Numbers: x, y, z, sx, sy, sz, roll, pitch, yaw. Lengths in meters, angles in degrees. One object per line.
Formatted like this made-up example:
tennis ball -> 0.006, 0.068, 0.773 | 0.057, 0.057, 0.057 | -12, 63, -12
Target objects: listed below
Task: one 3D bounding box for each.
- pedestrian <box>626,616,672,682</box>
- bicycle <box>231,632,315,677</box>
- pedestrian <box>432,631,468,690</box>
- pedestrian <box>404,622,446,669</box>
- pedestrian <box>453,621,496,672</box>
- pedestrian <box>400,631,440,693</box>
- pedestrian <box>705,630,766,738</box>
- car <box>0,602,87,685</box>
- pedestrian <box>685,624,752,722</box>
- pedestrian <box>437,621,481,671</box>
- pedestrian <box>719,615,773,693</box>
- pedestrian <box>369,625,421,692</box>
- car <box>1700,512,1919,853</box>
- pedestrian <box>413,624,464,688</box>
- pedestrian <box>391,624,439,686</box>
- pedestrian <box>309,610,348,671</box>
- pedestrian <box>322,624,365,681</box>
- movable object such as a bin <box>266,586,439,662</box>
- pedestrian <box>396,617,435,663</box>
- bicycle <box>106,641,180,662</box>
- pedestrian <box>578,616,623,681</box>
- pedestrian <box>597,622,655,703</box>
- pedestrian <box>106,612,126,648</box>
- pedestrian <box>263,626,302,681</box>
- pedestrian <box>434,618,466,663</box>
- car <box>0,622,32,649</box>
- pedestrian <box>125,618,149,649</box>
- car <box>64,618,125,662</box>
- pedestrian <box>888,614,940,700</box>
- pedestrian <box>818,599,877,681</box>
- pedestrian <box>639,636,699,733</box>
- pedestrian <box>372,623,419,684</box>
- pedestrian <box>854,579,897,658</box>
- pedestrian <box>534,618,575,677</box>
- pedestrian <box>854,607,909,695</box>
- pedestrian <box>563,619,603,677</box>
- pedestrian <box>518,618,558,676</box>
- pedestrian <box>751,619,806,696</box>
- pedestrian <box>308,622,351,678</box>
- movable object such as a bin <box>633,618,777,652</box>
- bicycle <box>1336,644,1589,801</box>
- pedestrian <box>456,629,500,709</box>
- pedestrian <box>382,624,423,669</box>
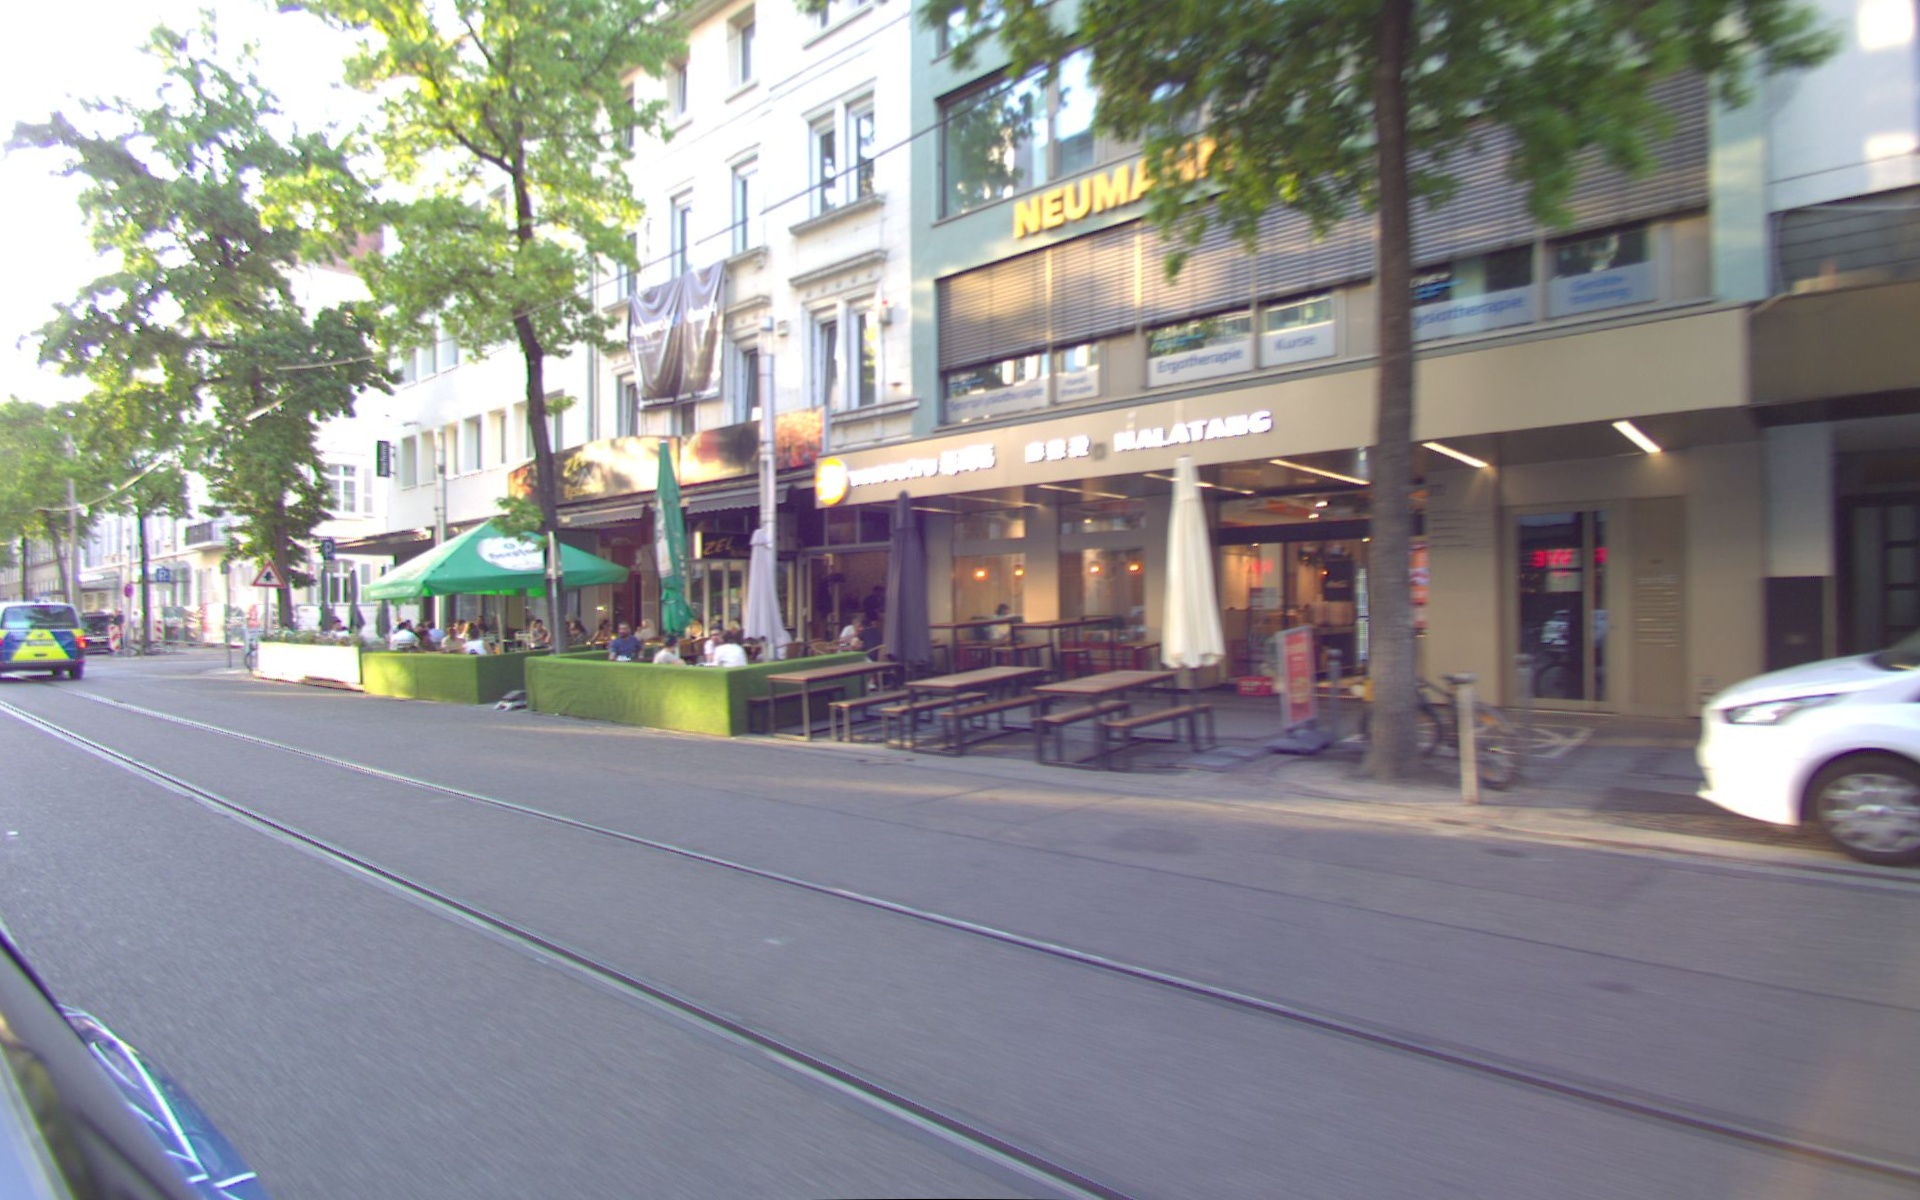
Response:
pedestrian -> -6.872, 1.067, 22.365 | 0.765, 1.388, 0.647 | 0, 0, 42
bicycle -> -19.315, 1.503, 28.490 | 0.626, 1.147, 1.843 | -1, 0, 38
pedestrian -> -10.879, 1.282, 21.608 | 0.511, 1.228, 0.537 | -1, 0, 43
pedestrian -> -15.711, 1.318, 29.715 | 0.882, 1.330, 0.875 | 0, 0, 44
pedestrian -> -13.391, 1.273, 27.918 | 0.838, 1.330, 0.882 | -1, 0, -45
pedestrian -> -11.292, 1.290, 21.162 | 0.544, 1.245, 0.579 | -1, 0, 43
pedestrian -> -3.036, 1.121, 13.695 | 0.564, 1.388, 0.573 | -1, 0, 42
car -> -24.414, 1.090, 26.301 | 4.847, 1.991, 1.973 | -1, -1, 41
pedestrian -> -3.518, 1.038, 14.753 | 0.731, 1.356, 0.637 | 0, 0, 43
pedestrian -> -14.174, 1.284, 28.610 | 0.882, 1.330, 0.875 | 0, 0, 44
pedestrian -> -4.017, 0.993, 18.972 | 0.765, 1.388, 0.647 | 0, 0, 42
pedestrian -> -12.234, 1.243, 21.924 | 1.012, 1.372, 0.708 | -1, 0, 43
car -> 6.695, 0.412, 5.184 | 4.516, 1.831, 1.774 | 0, 1, 43
pedestrian -> -11.653, 1.234, 22.595 | 1.012, 1.372, 0.708 | -1, 0, 43
pedestrian -> -12.512, 1.240, 23.219 | 0.925, 1.372, 0.708 | -1, 0, 43
pedestrian -> -18.542, 1.175, 29.726 | 0.632, 1.754, 0.781 | -1, 0, -1
pedestrian -> -15.263, 1.283, 25.055 | 0.872, 1.372, 0.708 | -1, 0, 43
movable object such as a bin -> -24.719, 0.955, 41.346 | 2.641, 2.894, 5.492 | 0, -1, 39
pedestrian -> -16.406, 1.195, 30.490 | 0.838, 1.330, 0.882 | -1, 0, -45
bicycle -> -32.997, 2.062, 40.898 | 1.328, 0.711, 2.052 | -1, 0, 35
pedestrian -> -8.067, 1.074, 22.715 | 0.765, 1.388, 0.647 | 0, 0, 42
pedestrian -> -5.541, 1.015, 16.787 | 0.600, 1.274, 0.701 | -1, 0, 42
pedestrian -> -45.489, 1.614, 54.572 | 0.769, 1.898, 0.670 | -1, 1, 42
pedestrian -> -17.795, 1.385, 26.585 | 0.793, 1.387, 0.685 | -1, 0, 43
pedestrian -> -15.320, 1.203, 30.404 | 0.842, 1.330, 0.615 | 0, 0, 45
car -> -63.353, 2.346, 67.333 | 4.103, 1.751, 1.973 | -1, -1, 41
pedestrian -> -44.991, 1.810, 55.330 | 0.761, 1.668, 0.875 | -2, -1, 39
car -> -39.334, 1.786, 45.971 | 3.879, 1.778, 1.748 | -2, 1, 45
pedestrian -> -0.772, 0.932, 16.960 | 0.679, 1.388, 0.531 | -1, 0, 42
pedestrian -> -1.973, 0.679, 17.747 | 0.765, 1.388, 0.683 | 0, 0, 42
pedestrian -> -4.050, 1.149, 14.079 | 0.641, 1.276, 0.545 | -1, 0, 42
pedestrian -> -13.371, 1.246, 23.973 | 1.012, 1.372, 0.708 | -1, 0, 43
pedestrian -> -1.920, 0.415, 23.075 | 0.760, 1.779, 0.651 | -1, 0, 23
pedestrian -> -9.834, 1.135, 24.532 | 0.765, 1.388, 0.647 | 0, 0, 42
pedestrian -> -1.280, 0.815, 16.501 | 0.648, 1.388, 0.599 | -1, 0, 42
pedestrian -> -9.295, 1.162, 24.952 | 0.765, 1.388, 0.647 | 0, 0, 42
pedestrian -> -10.446, 1.160, 25.061 | 0.765, 1.388, 0.647 | 0, 0, 42
pedestrian -> -3.282, 1.016, 18.326 | 0.765, 1.340, 0.647 | 0, 0, 42
pedestrian -> -16.182, 1.266, 25.964 | 0.925, 1.372, 0.708 | -1, 0, 43
movable object such as a bin -> -13.538, 1.821, 54.245 | 2.897, 1.677, 7.197 | 0, -1, 40
bicycle -> 4.111, 0.945, 8.488 | 0.602, 1.076, 2.026 | -1, -1, -20
pedestrian -> -8.700, 1.235, 18.264 | 0.564, 1.388, 0.541 | -1, 0, 42
pedestrian -> -17.166, 1.422, 31.174 | 0.882, 1.330, 0.875 | 0, 0, 44
